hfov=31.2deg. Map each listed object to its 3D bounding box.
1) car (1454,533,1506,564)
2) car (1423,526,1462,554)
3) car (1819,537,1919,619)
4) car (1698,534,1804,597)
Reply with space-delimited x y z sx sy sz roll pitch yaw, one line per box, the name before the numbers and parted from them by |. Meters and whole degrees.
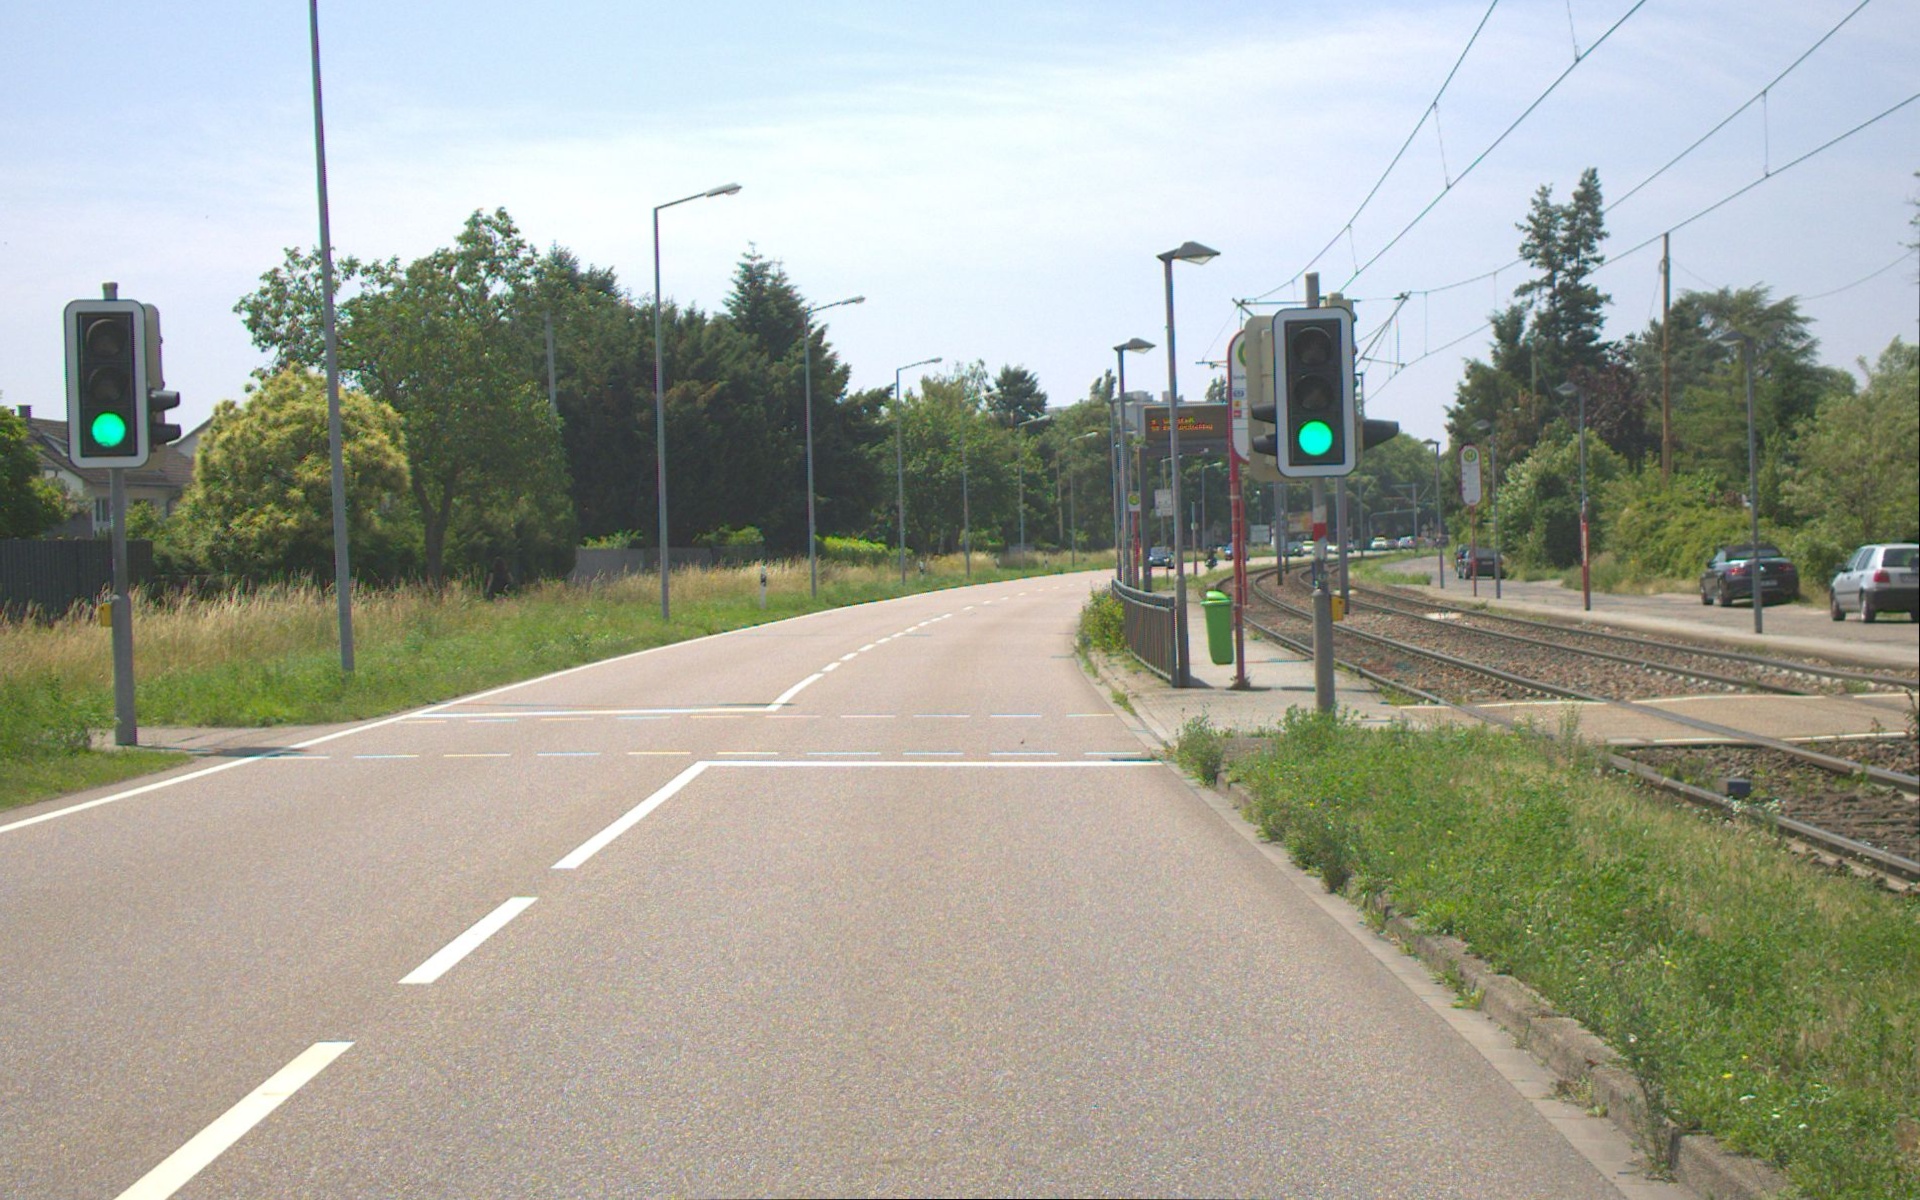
car | 22.756 -2.271 150.524 1.861 1.325 4.514 0 1 4
car | 25.782 -3.186 183.765 1.914 1.465 3.999 0 1 7
car | 16.910 -0.418 62.048 1.939 1.417 4.000 0 1 2
car | 18.561 -0.825 80.857 1.620 1.417 4.873 0 1 3
